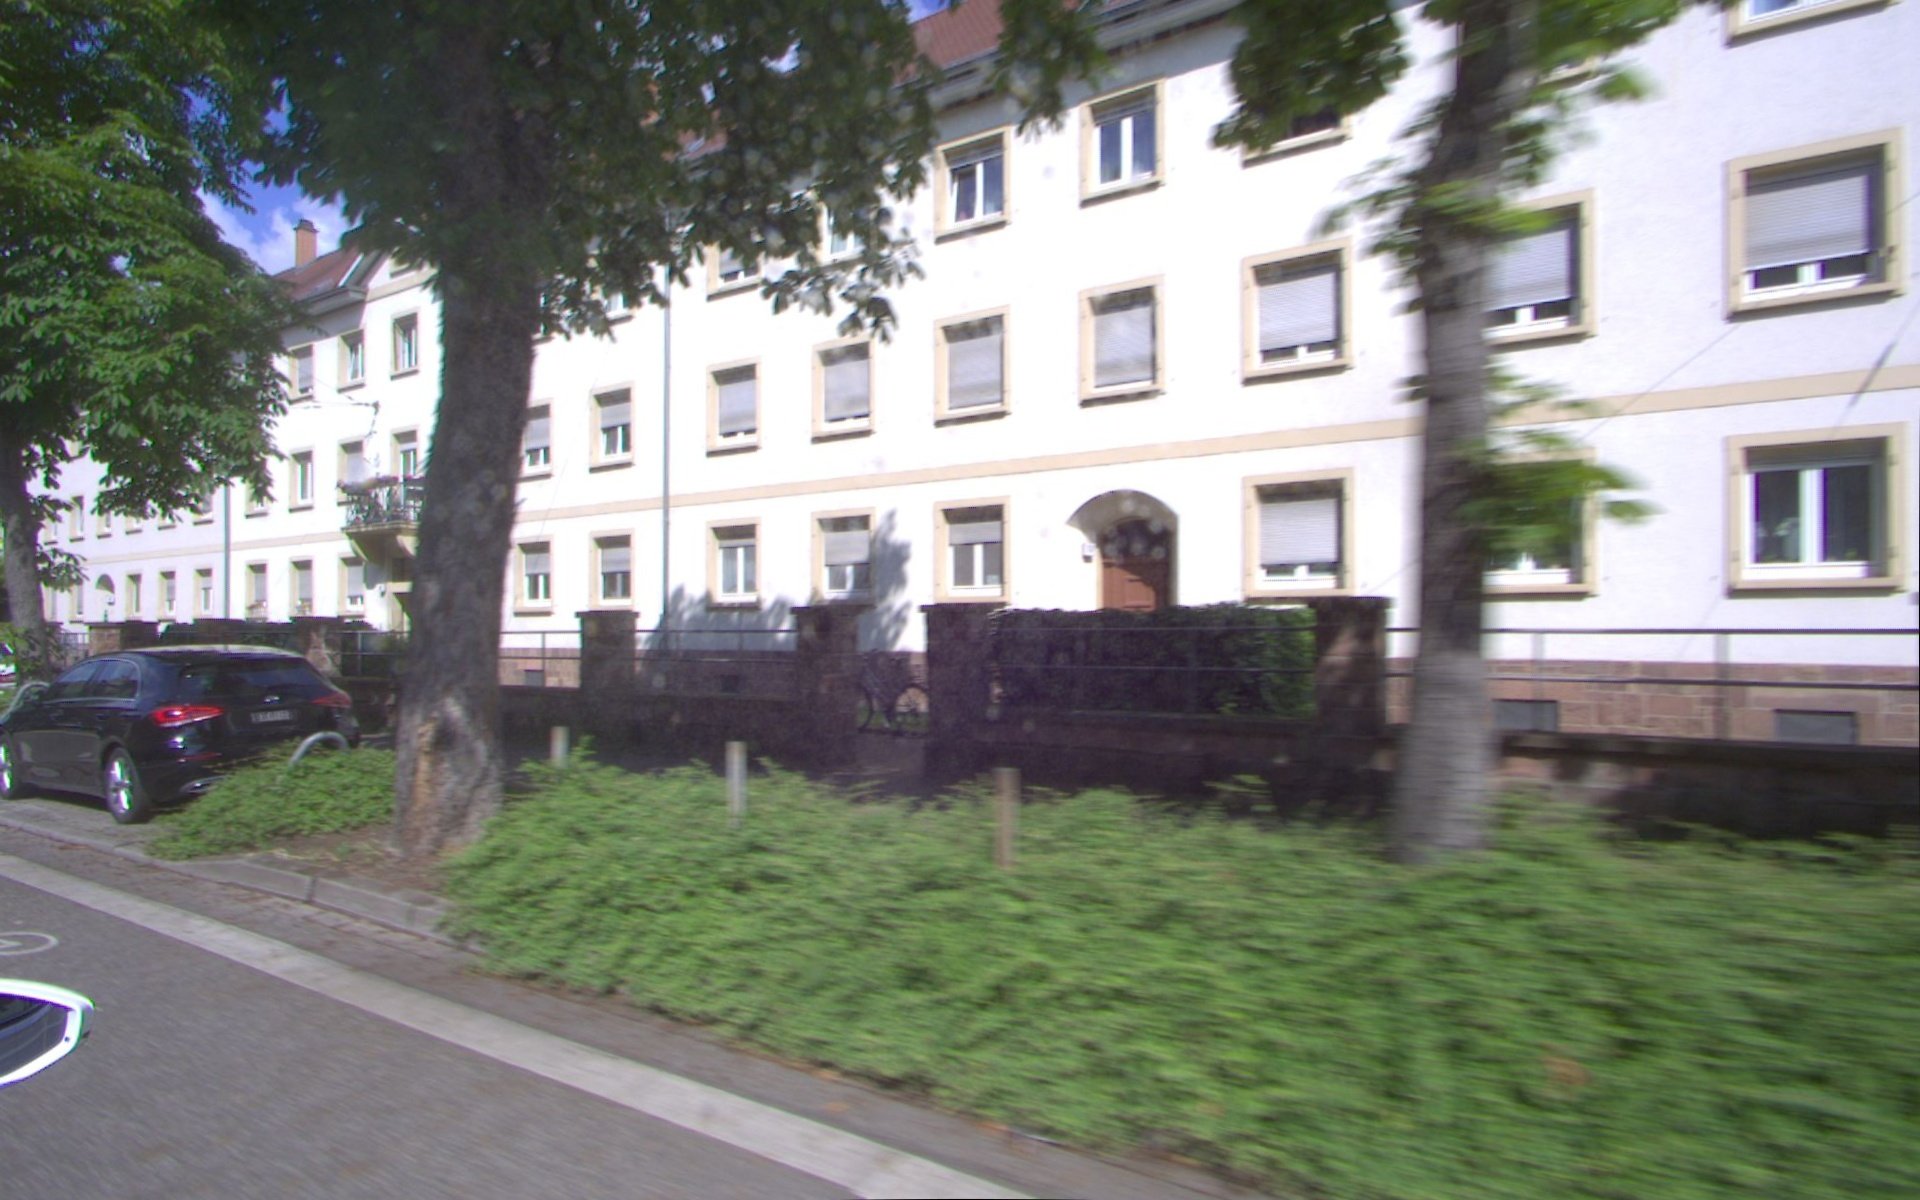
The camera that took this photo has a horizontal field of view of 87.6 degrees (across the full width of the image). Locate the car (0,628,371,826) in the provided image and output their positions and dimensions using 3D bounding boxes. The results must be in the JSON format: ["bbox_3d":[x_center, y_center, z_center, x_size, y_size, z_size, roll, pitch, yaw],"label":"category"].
[{"bbox_3d":[-7.667,1.053,9.634,4.225,1.540,1.658,-1,-2,32],"label":"car"}]

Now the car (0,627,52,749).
[{"bbox_3d":[-14.611,1.179,13.982,4.187,1.601,1.740,-1,-2,32],"label":"car"}]

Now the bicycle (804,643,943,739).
[{"bbox_3d":[-1.134,1.140,12.975,1.775,1.149,0.623,-1,-2,32],"label":"bicycle"}]
